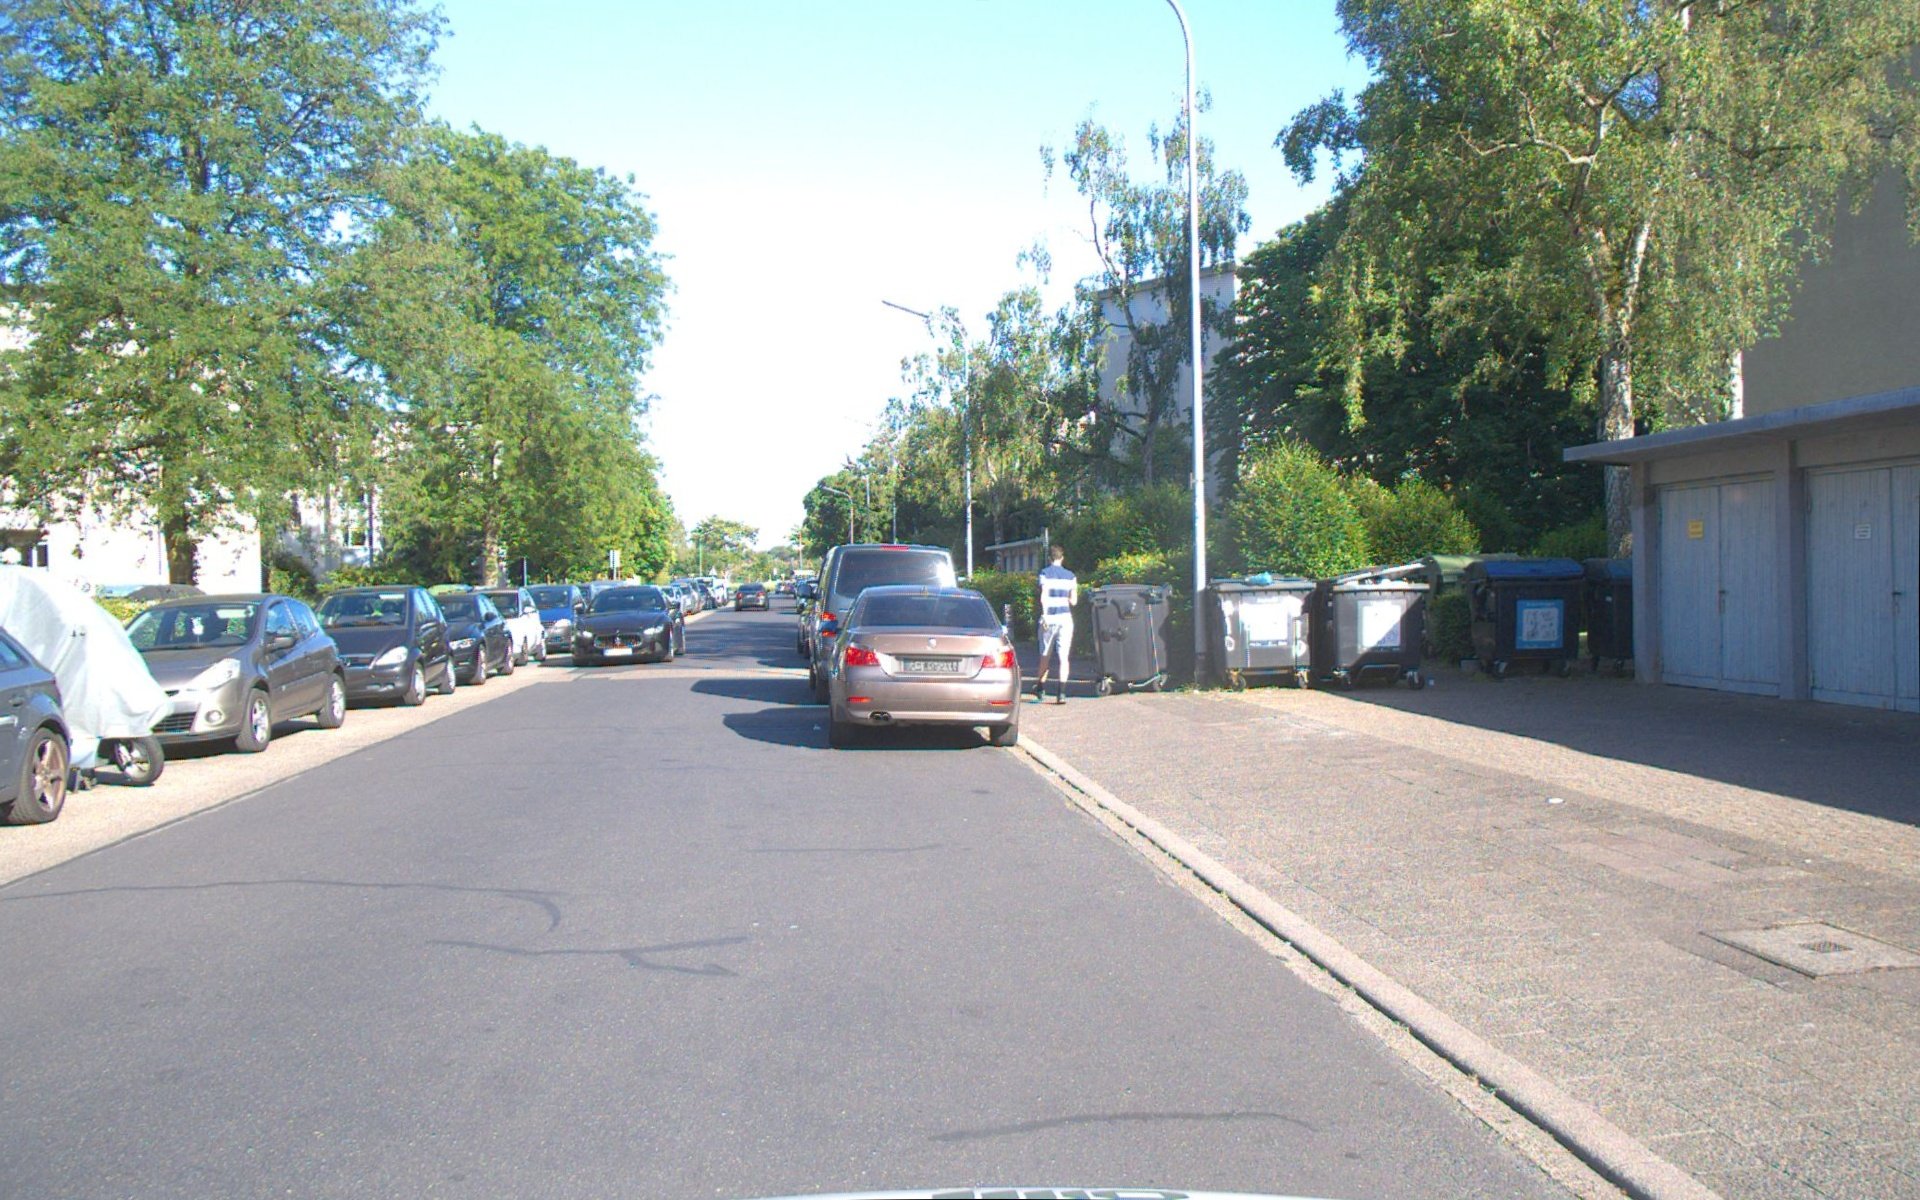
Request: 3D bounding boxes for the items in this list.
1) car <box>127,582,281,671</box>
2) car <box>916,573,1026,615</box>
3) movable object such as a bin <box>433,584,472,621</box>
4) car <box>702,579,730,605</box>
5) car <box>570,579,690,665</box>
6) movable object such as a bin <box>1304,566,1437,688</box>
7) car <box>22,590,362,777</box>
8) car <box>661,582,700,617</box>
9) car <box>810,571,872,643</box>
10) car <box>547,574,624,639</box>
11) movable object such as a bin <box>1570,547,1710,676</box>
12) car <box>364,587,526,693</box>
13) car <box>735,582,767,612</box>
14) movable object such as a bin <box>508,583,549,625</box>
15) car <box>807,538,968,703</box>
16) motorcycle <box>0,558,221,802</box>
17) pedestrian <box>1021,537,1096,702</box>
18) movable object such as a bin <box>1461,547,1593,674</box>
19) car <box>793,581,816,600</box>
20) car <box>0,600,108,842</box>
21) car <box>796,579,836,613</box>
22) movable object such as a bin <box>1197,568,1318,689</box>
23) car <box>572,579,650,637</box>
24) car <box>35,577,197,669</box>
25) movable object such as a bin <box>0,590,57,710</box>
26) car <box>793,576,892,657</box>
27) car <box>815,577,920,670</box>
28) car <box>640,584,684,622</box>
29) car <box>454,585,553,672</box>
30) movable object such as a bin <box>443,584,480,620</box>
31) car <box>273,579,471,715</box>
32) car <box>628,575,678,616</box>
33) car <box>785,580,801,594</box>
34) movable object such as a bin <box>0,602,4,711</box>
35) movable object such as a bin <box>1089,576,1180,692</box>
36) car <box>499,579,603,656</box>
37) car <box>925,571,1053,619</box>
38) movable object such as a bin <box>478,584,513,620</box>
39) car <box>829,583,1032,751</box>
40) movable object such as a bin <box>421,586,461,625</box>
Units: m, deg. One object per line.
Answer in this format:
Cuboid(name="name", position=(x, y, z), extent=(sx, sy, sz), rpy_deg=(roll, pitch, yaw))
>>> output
Cuboid(name="car", position=(-14.188, 0.445, 31.262), extent=(1.541, 1.552, 3.993), rpy_deg=(0, 1, -8))
Cuboid(name="car", position=(0.433, -0.246, 67.728), extent=(4.330, 1.540, 1.827), rpy_deg=(-2, 1, -6))
Cuboid(name="movable object such as a bin", position=(-20.521, 0.090, 66.906), extent=(1.154, 1.445, 1.461), rpy_deg=(1, 0, -4))
Cuboid(name="car", position=(-17.387, -0.604, 118.064), extent=(1.713, 1.762, 4.000), rpy_deg=(-2, 1, -6))
Cuboid(name="car", position=(-6.397, 0.380, 32.512), extent=(1.874, 1.502, 4.565), rpy_deg=(-2, 1, -6))
Cuboid(name="movable object such as a bin", position=(4.878, 0.303, 19.751), extent=(1.251, 1.389, 1.132), rpy_deg=(-1, 1, -3))
Cuboid(name="car", position=(-7.461, 0.717, 16.524), extent=(1.720, 1.506, 3.956), rpy_deg=(-3, 1, -4))
Cuboid(name="car", position=(-14.014, -0.058, 83.115), extent=(1.678, 1.628, 3.979), rpy_deg=(-3, 1, -8))
Cuboid(name="car", position=(-3.017, 0.158, 41.664), extent=(1.460, 1.748, 2.579), rpy_deg=(0, 0, -7))
Cuboid(name="car", position=(-10.055, 0.150, 44.599), extent=(1.605, 1.634, 3.530), rpy_deg=(-2, 1, -7))
Cuboid(name="movable object such as a bin", position=(8.473, 0.120, 20.670), extent=(1.251, 1.491, 1.133), rpy_deg=(-1, 4, -3))
Cuboid(name="car", position=(-8.532, 0.598, 27.760), extent=(1.721, 1.506, 4.530), rpy_deg=(-3, 1, -7))
Cuboid(name="car", position=(-11.240, -0.185, 88.805), extent=(1.648, 1.540, 4.096), rpy_deg=(1, 0, -8))
Cuboid(name="movable object such as a bin", position=(-15.159, 0.137, 58.124), extent=(1.114, 1.407, 1.440), rpy_deg=(1, 0, -5))
Cuboid(name="car", position=(-1.076, 0.222, 22.138), extent=(1.817, 1.968, 4.698), rpy_deg=(0, 1, -7))
Cuboid(name="motorcycle", position=(-7.136, 0.627, 12.919), extent=(2.215, 1.756, 0.930), rpy_deg=(-4, 1, -9))
Cuboid(name="pedestrian", position=(1.183, 0.223, 20.075), extent=(0.689, 1.921, 0.871), rpy_deg=(-3, 1, -5))
Cuboid(name="movable object such as a bin", position=(7.151, 0.112, 20.941), extent=(1.251, 1.491, 1.133), rpy_deg=(-1, 4, -3))
Cuboid(name="car", position=(-13.322, -0.853, 141.814), extent=(1.762, 1.589, 3.944), rpy_deg=(0, 1, -8))
Cuboid(name="car", position=(-6.640, 0.798, 9.357), extent=(1.721, 1.445, 4.264), rpy_deg=(-3, 1, -6))
Cuboid(name="car", position=(-6.990, -0.208, 80.014), extent=(1.720, 1.540, 4.096), rpy_deg=(1, 0, -8))
Cuboid(name="movable object such as a bin", position=(3.581, 0.327, 20.000), extent=(1.199, 1.389, 1.132), rpy_deg=(-1, 1, -3))
Cuboid(name="car", position=(-10.779, 0.215, 51.313), extent=(1.866, 1.668, 4.343), rpy_deg=(-2, 1, -6))
Cuboid(name="car", position=(-16.185, 0.394, 31.932), extent=(1.541, 1.669, 3.993), rpy_deg=(0, 1, -8))
Cuboid(name="movable object such as a bin", position=(-12.178, 0.606, 20.617), extent=(1.155, 1.432, 1.342), rpy_deg=(-1, 1, -6))
Cuboid(name="car", position=(-2.525, 0.297, 34.618), extent=(1.699, 1.515, 4.493), rpy_deg=(-2, 1, -8))
Cuboid(name="car", position=(-1.674, 0.365, 29.007), extent=(1.592, 1.516, 4.030), rpy_deg=(0, 1, -7))
Cuboid(name="car", position=(-13.006, 0.109, 72.374), extent=(1.655, 1.532, 3.811), rpy_deg=(-2, 1, -8))
Cuboid(name="car", position=(-9.248, 0.529, 33.705), extent=(1.417, 1.601, 3.137), rpy_deg=(-3, 1, -7))
Cuboid(name="movable object such as a bin", position=(-20.612, 0.083, 68.424), extent=(1.154, 1.445, 1.461), rpy_deg=(1, 0, -4))
Cuboid(name="car", position=(-7.939, 0.570, 22.654), extent=(1.721, 1.601, 3.714), rpy_deg=(-3, 1, -7))
Cuboid(name="car", position=(-12.363, -0.193, 66.752), extent=(1.654, 1.561, 3.885), rpy_deg=(-2, 1, -7))
Cuboid(name="car", position=(-19.854, -1.532, 196.649), extent=(1.762, 1.576, 3.944), rpy_deg=(0, 1, -8))
Cuboid(name="movable object such as a bin", position=(-12.041, 0.690, 19.212), extent=(1.155, 1.310, 1.342), rpy_deg=(-1, 1, -6))
Cuboid(name="movable object such as a bin", position=(2.177, 0.409, 20.828), extent=(1.005, 1.332, 1.388), rpy_deg=(-4, 1, 4))
Cuboid(name="car", position=(-9.614, 0.373, 39.156), extent=(1.720, 1.634, 3.964), rpy_deg=(-3, 1, -5))
Cuboid(name="car", position=(1.025, -0.198, 59.547), extent=(4.426, 1.540, 1.827), rpy_deg=(-2, 1, -5))
Cuboid(name="movable object such as a bin", position=(-19.412, 0.073, 69.139), extent=(1.112, 1.445, 1.359), rpy_deg=(1, 0, -5))
Cuboid(name="car", position=(-0.426, 0.556, 16.641), extent=(1.766, 1.443, 4.632), rpy_deg=(0, 1, -4))
Cuboid(name="movable object such as a bin", position=(-20.370, 0.205, 64.898), extent=(1.154, 1.445, 1.461), rpy_deg=(1, 0, -4))
